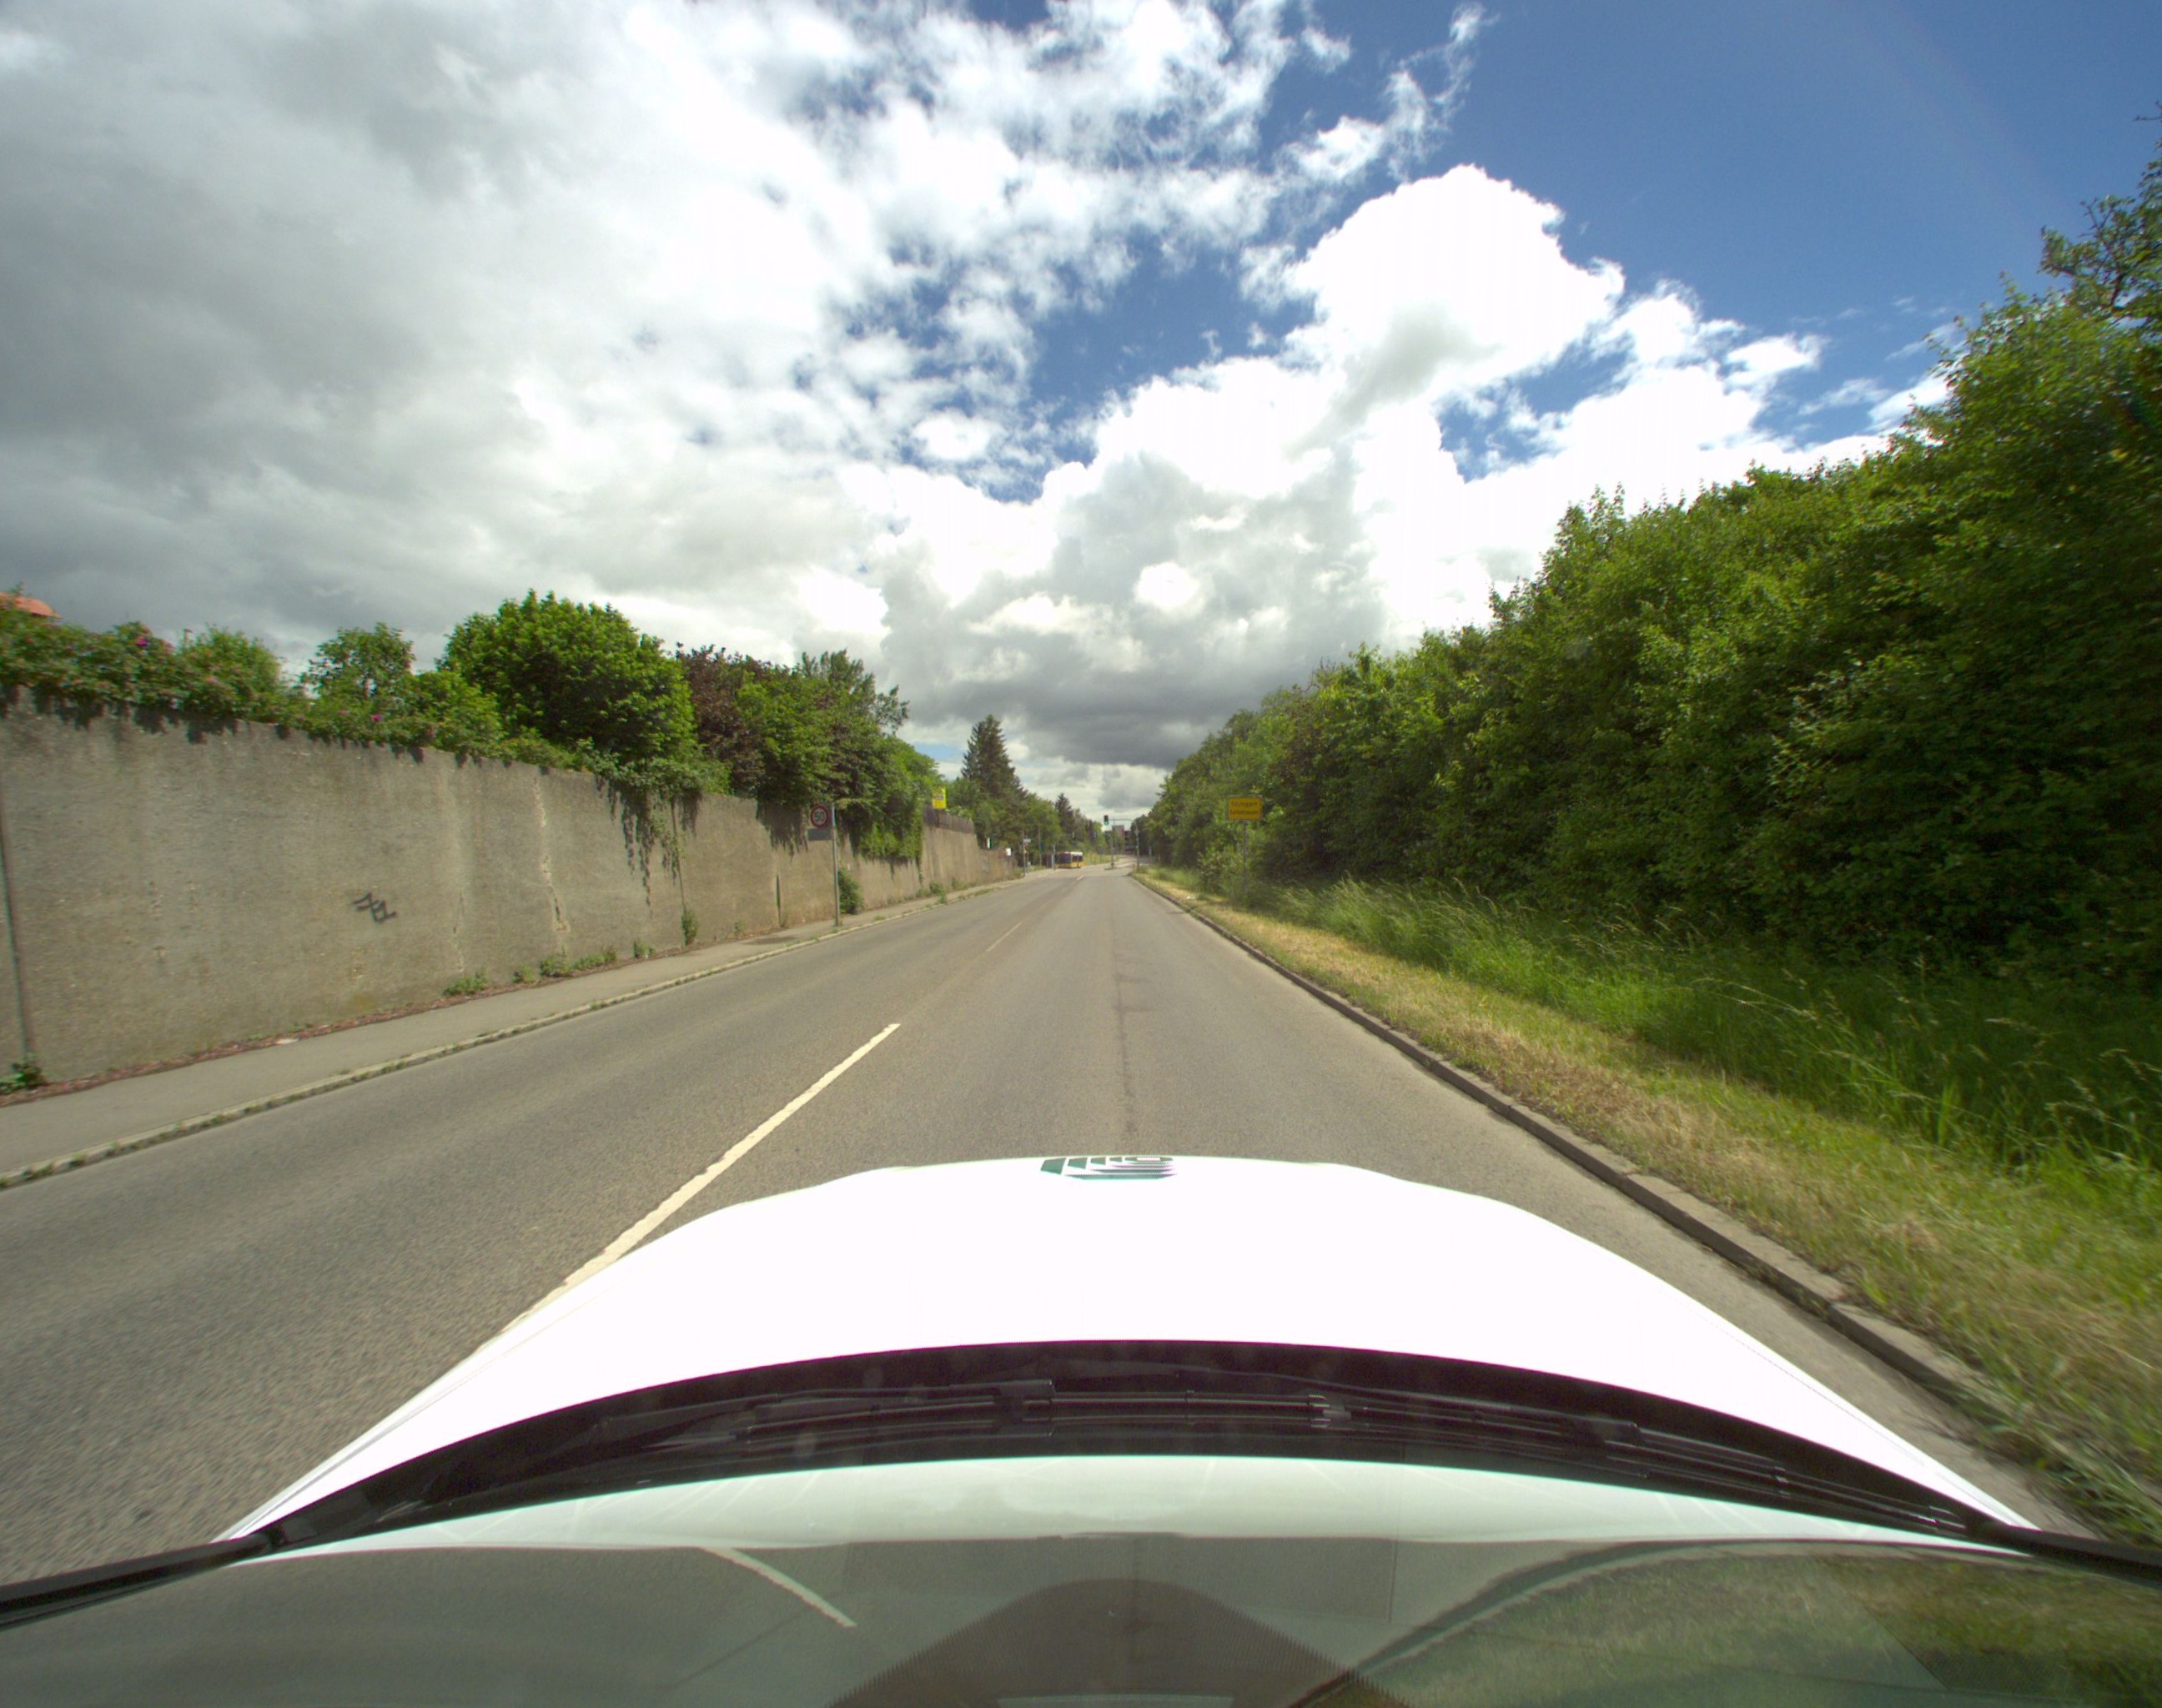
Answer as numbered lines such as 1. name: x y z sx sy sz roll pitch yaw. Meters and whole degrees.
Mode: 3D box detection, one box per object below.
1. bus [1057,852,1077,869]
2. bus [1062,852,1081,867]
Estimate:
1. bus: -2.556 1.166 151.144 2.881 2.899 7.678 0 1 5
2. bus: -1.852 1.057 158.749 2.881 2.899 7.678 0 1 5
